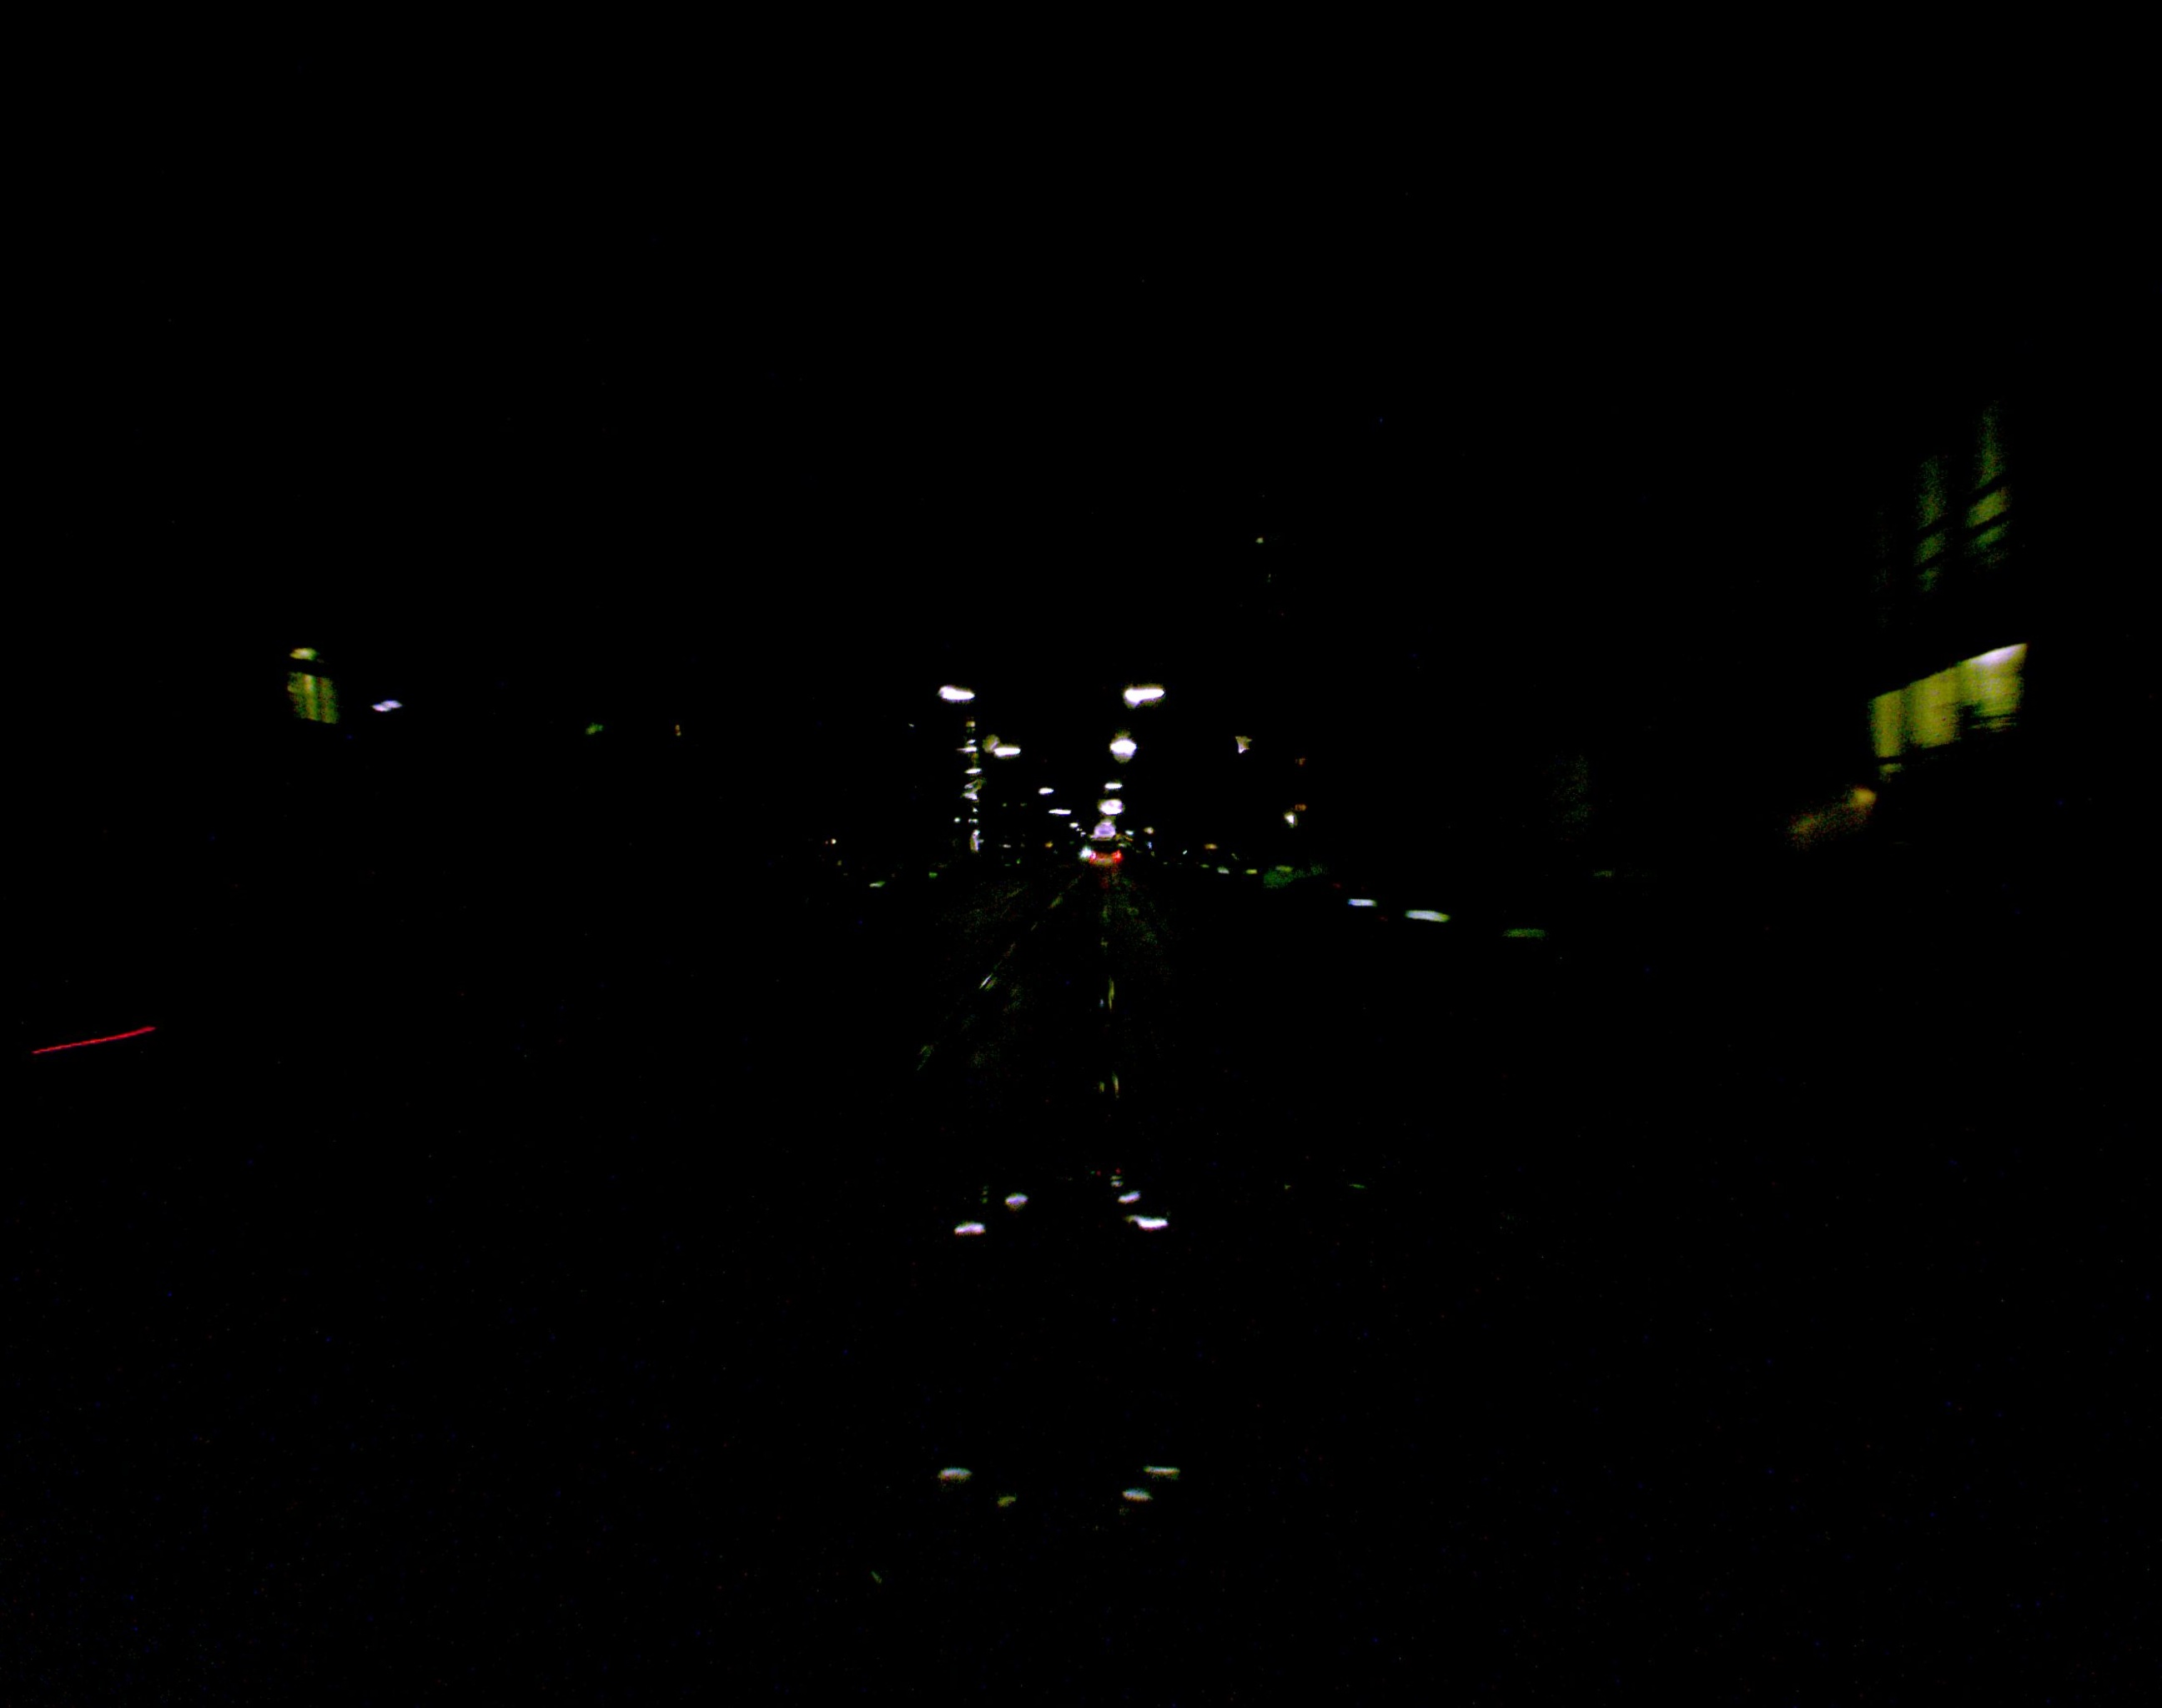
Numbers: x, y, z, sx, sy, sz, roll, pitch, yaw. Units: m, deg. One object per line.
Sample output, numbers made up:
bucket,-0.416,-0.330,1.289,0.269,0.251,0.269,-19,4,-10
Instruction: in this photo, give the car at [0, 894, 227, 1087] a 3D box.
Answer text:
car,-9.094,1.070,5.796,1.662,1.386,4.003,1,-1,2

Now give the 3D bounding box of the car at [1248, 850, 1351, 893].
car,7.493,0.562,27.900,3.350,1.385,1.614,0,0,-34

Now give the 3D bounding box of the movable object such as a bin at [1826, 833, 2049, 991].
movable object such as a bin,8.482,0.525,8.099,1.412,1.407,1.020,-2,0,-19

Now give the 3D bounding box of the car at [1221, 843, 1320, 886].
car,7.256,0.336,30.954,1.671,1.404,4.485,0,2,42

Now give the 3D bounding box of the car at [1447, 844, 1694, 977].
car,6.615,0.631,10.854,3.810,1.458,1.749,1,0,-41

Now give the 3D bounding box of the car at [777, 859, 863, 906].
car,-8.499,0.877,26.798,1.604,1.428,3.807,0,0,0

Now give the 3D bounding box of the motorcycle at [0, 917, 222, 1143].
motorcycle,-6.642,1.088,4.824,0.813,1.230,2.003,-6,-1,4

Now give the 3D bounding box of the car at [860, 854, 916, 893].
car,-8.373,0.802,35.669,1.636,1.507,3.618,0,2,-1

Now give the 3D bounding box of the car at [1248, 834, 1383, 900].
car,7.180,0.350,24.788,4.195,1.839,1.940,1,0,-41

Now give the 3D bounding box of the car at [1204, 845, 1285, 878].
car,7.604,0.330,37.770,3.878,1.433,1.799,1,0,-44

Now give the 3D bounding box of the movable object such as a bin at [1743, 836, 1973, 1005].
movable object such as a bin,7.163,0.556,7.549,1.352,1.407,1.020,-1,0,-19

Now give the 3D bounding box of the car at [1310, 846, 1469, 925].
car,6.451,0.586,16.837,3.857,1.438,1.580,1,0,-44

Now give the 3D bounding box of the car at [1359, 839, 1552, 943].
car,6.387,0.511,13.683,1.785,1.488,3.879,-1,0,43

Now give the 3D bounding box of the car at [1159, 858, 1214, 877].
car,8.186,1.031,63.006,4.272,1.454,1.927,1,0,-43

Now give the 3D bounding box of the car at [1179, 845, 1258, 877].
car,6.857,0.317,40.362,3.909,1.533,1.800,0,0,-40

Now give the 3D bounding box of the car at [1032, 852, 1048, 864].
car,-6.103,0.641,121.187,2.016,1.761,4.000,1,-1,1

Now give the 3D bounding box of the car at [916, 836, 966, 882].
car,-8.091,0.246,47.571,2.019,2.499,5.605,1,0,-1

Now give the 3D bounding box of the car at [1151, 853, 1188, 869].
car,8.997,0.662,82.772,1.886,1.572,3.987,0,0,40

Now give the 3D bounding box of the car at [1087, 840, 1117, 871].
car,1.674,0.132,66.863,2.210,2.441,5.382,0,0,-1

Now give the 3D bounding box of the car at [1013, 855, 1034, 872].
car,-6.348,1.044,90.060,1.993,1.785,4.000,1,-1,1

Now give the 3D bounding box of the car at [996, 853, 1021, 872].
car,-7.255,0.846,81.715,2.102,1.764,4.962,1,-1,-1

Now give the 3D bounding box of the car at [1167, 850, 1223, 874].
car,8.017,0.555,57.074,2.030,1.623,3.851,0,0,43

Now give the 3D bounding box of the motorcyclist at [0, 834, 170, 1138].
motorcyclist,-6.666,0.800,4.916,0.914,1.740,1.137,-6,-1,4

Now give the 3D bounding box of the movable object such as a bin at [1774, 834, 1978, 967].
movable object such as a bin,9.106,0.499,9.422,1.018,1.407,1.420,-2,0,7
